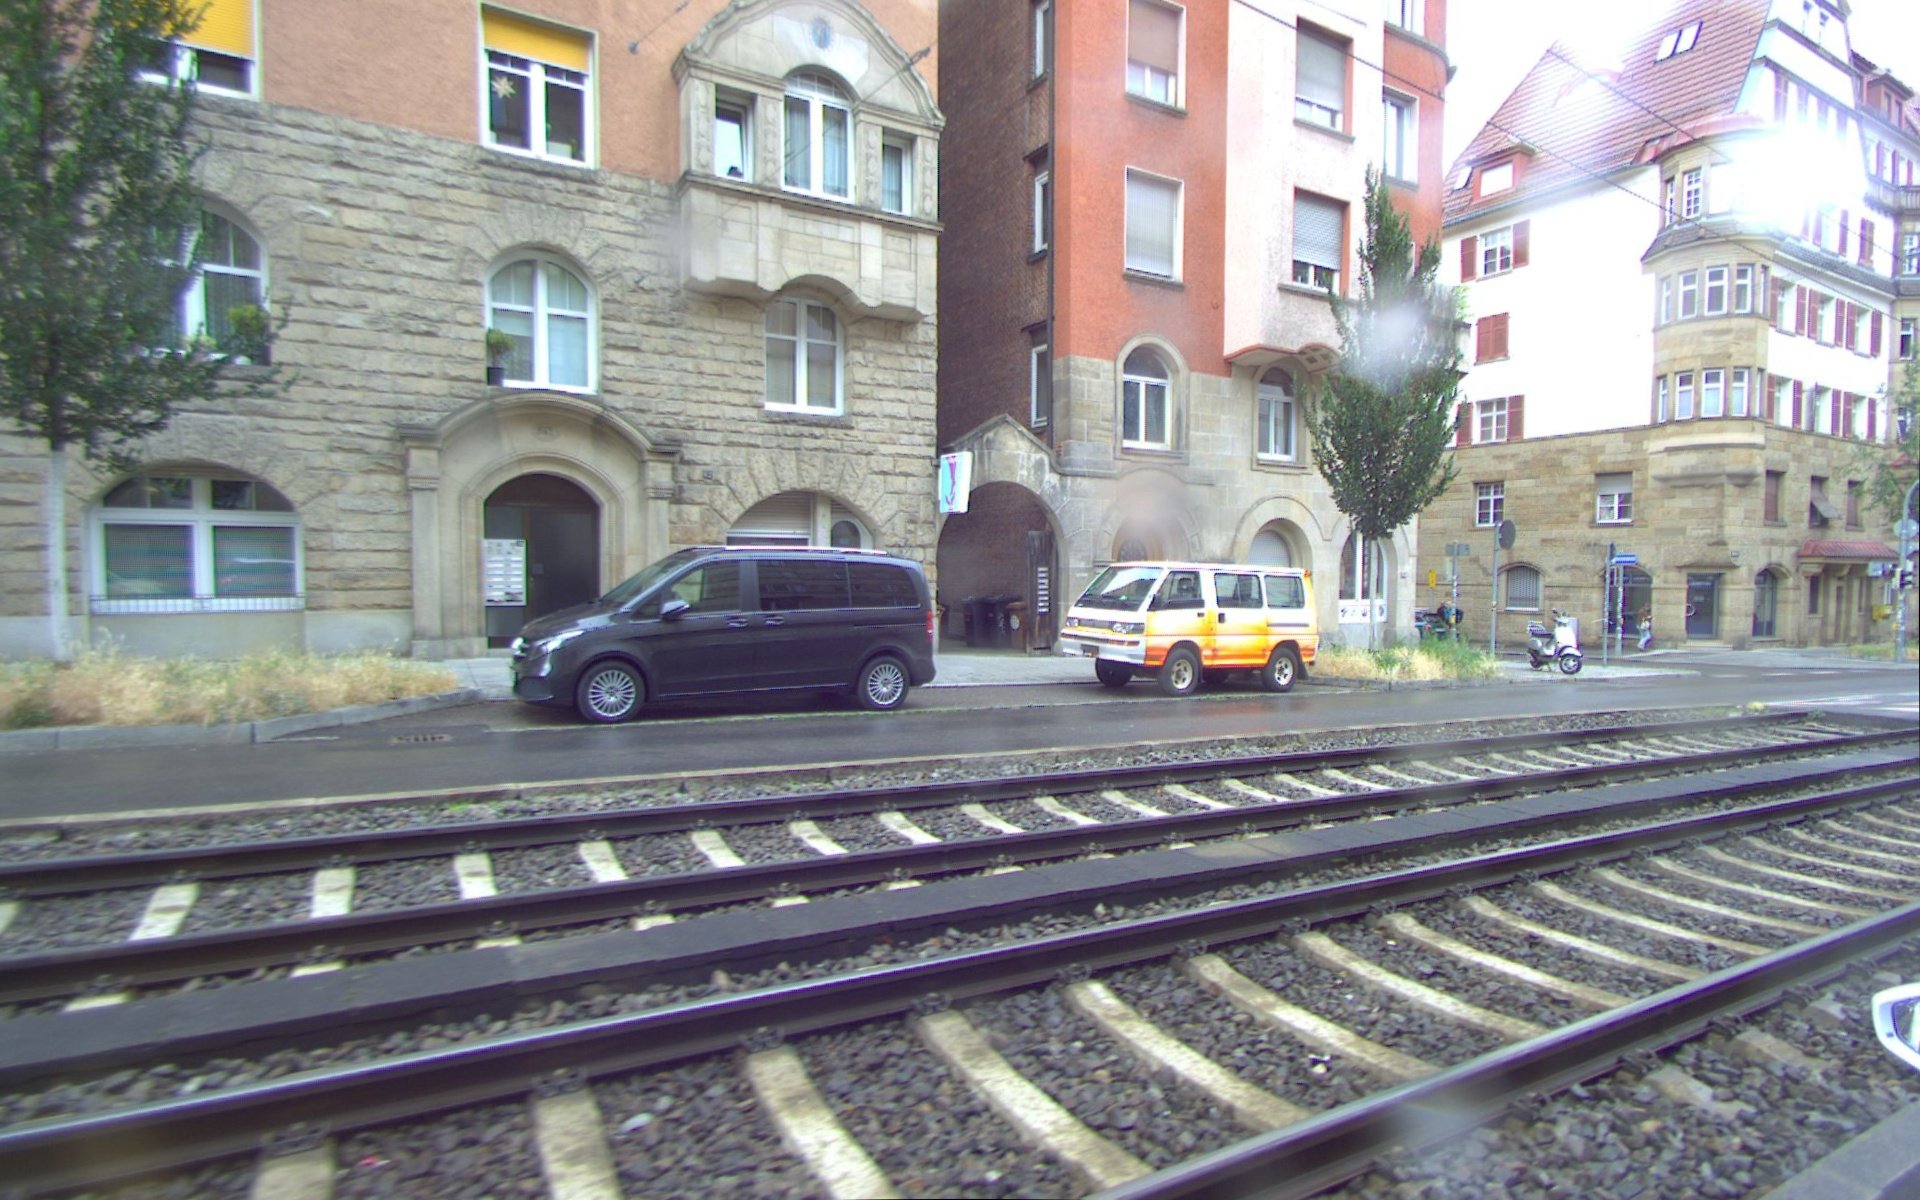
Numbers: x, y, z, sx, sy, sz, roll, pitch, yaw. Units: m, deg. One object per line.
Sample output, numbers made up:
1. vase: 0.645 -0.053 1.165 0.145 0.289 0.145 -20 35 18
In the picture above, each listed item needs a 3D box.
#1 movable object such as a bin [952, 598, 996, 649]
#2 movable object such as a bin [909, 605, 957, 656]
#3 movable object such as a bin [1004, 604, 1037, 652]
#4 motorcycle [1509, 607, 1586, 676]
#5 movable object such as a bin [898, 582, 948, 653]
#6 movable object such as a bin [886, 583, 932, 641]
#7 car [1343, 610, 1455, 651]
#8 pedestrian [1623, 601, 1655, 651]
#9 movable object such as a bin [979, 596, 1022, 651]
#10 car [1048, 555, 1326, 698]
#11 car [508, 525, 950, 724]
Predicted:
1. movable object such as a bin: 0.292 0.486 21.095 0.607 1.053 0.793 1 -1 -27
2. movable object such as a bin: -0.519 0.566 19.001 0.627 0.918 0.793 1 1 -27
3. movable object such as a bin: 1.201 0.557 20.040 0.442 0.957 0.557 1 -1 -27
4. motorcycle: 12.481 0.862 21.394 0.612 1.384 1.596 2 0 -3
5. movable object such as a bin: -0.733 0.344 19.874 0.648 1.360 0.903 1 1 -26
6. movable object such as a bin: -1.232 0.278 24.068 0.676 1.324 1.154 1 1 -26
7. car: 16.860 1.168 38.731 1.683 1.423 3.618 2 0 -34
8. pedestrian: 23.128 0.878 34.214 0.628 1.695 0.695 2 0 -39
9. movable object such as a bin: 0.829 0.481 20.548 0.607 1.090 0.679 1 -1 -27
10. car: 3.644 0.419 15.844 4.295 2.001 1.721 2 0 -32
11. car: -2.688 0.302 12.008 4.769 1.968 1.984 2 0 -30
